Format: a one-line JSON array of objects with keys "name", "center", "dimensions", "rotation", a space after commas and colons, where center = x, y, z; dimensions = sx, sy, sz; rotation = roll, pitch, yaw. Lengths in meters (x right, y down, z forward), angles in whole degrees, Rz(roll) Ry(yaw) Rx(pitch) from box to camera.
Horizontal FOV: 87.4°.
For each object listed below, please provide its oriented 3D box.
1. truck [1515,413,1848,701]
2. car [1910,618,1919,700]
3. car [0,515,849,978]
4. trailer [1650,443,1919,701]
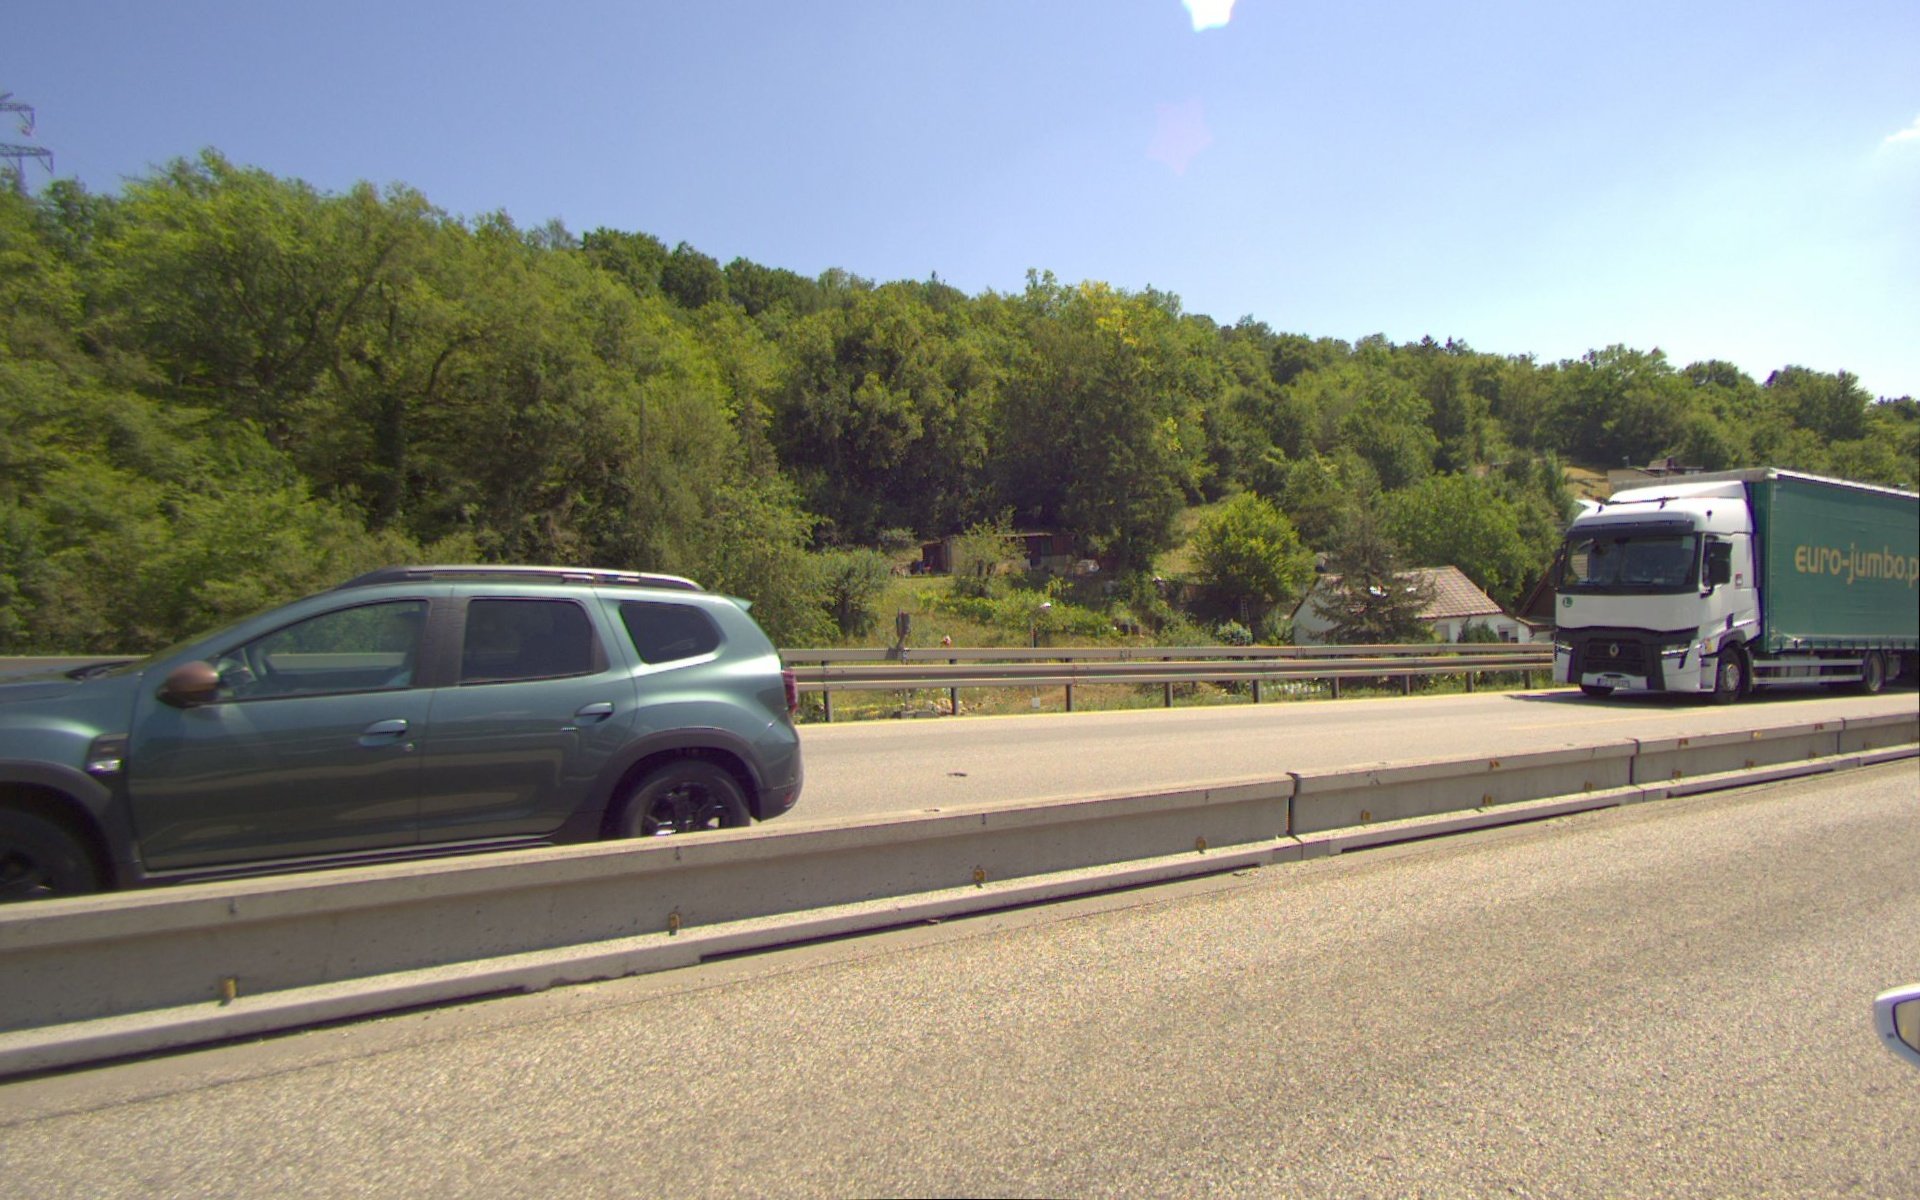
[{"name": "truck", "center": [13.507, -0.602, 18.766], "dimensions": [5.717, 4.640, 2.834], "rotation": [2, -1, -29]}, {"name": "car", "center": [19.715, 1.138, 18.565], "dimensions": [4.702, 1.482, 1.893], "rotation": [2, -1, -30]}, {"name": "car", "center": [-2.837, 0.571, 5.216], "dimensions": [4.064, 1.703, 1.948], "rotation": [1, -1, -29]}, {"name": "trailer", "center": [21.318, -0.282, 23.007], "dimensions": [14.401, 4.703, 2.822], "rotation": [2, -1, -29]}]
